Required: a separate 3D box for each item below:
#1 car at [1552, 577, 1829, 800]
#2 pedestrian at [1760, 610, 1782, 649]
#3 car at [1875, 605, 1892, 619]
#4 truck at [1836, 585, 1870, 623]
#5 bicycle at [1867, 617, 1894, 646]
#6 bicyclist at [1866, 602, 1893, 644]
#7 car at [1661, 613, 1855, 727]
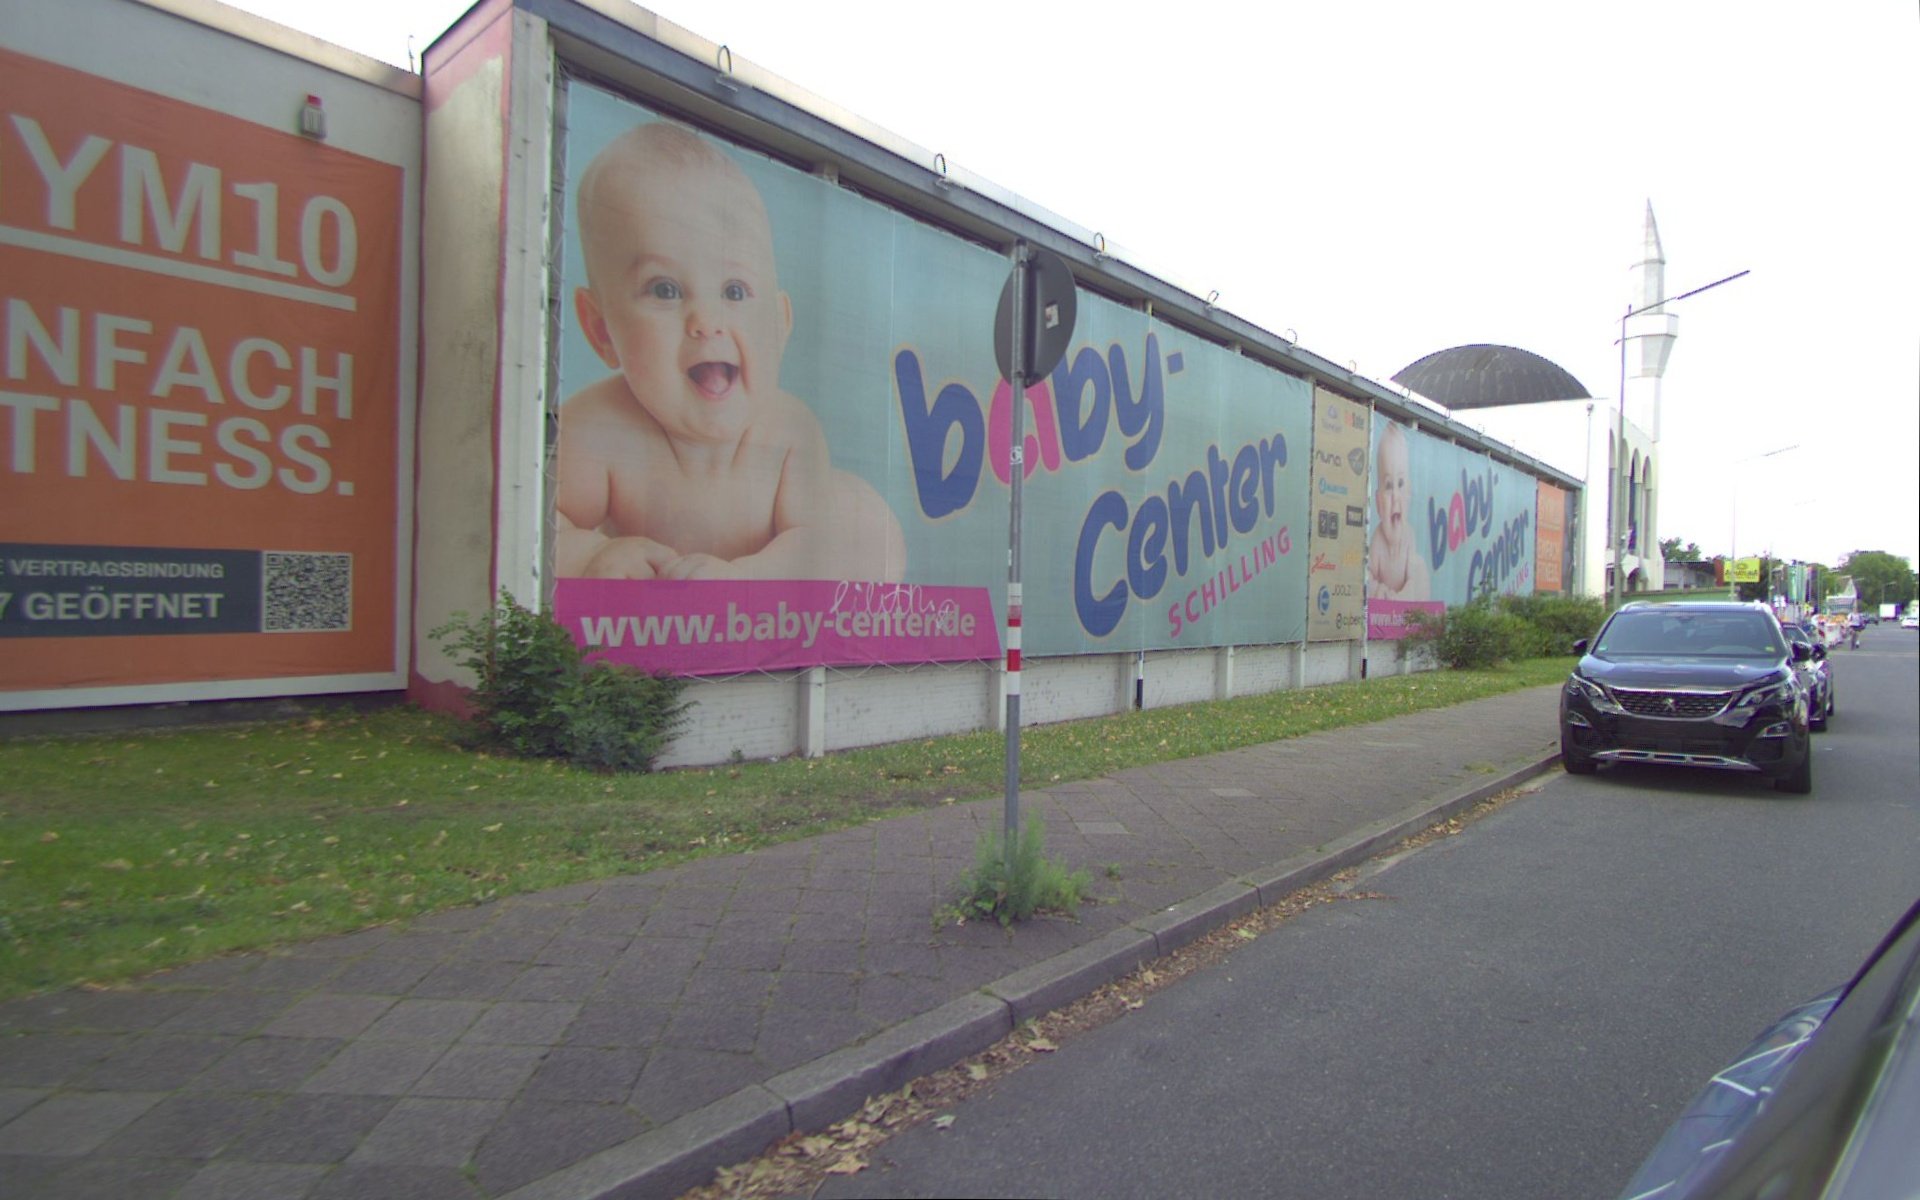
[{"bbox_3d":[7.384,0.709,10.017,1.806,1.687,4.571,-2,-2,41],"label":"car"},{"bbox_3d":[33.663,1.211,42.000,0.680,1.553,1.113,1,0,41],"label":"pedestrian"},{"bbox_3d":[136.095,1.742,149.174,1.791,1.916,3.940,2,1,41],"label":"car"},{"bbox_3d":[102.558,0.513,116.220,2.776,4.169,8.152,-2,-2,42],"label":"truck"},{"bbox_3d":[39.814,1.356,43.810,0.797,1.195,2.587,0,-1,41],"label":"bicycle"},{"bbox_3d":[39.879,0.982,43.896,0.806,1.815,1.189,-1,-1,41],"label":"bicyclist"},{"bbox_3d":[11.731,0.903,14.765,1.807,1.409,4.515,-2,-2,43],"label":"car"}]
